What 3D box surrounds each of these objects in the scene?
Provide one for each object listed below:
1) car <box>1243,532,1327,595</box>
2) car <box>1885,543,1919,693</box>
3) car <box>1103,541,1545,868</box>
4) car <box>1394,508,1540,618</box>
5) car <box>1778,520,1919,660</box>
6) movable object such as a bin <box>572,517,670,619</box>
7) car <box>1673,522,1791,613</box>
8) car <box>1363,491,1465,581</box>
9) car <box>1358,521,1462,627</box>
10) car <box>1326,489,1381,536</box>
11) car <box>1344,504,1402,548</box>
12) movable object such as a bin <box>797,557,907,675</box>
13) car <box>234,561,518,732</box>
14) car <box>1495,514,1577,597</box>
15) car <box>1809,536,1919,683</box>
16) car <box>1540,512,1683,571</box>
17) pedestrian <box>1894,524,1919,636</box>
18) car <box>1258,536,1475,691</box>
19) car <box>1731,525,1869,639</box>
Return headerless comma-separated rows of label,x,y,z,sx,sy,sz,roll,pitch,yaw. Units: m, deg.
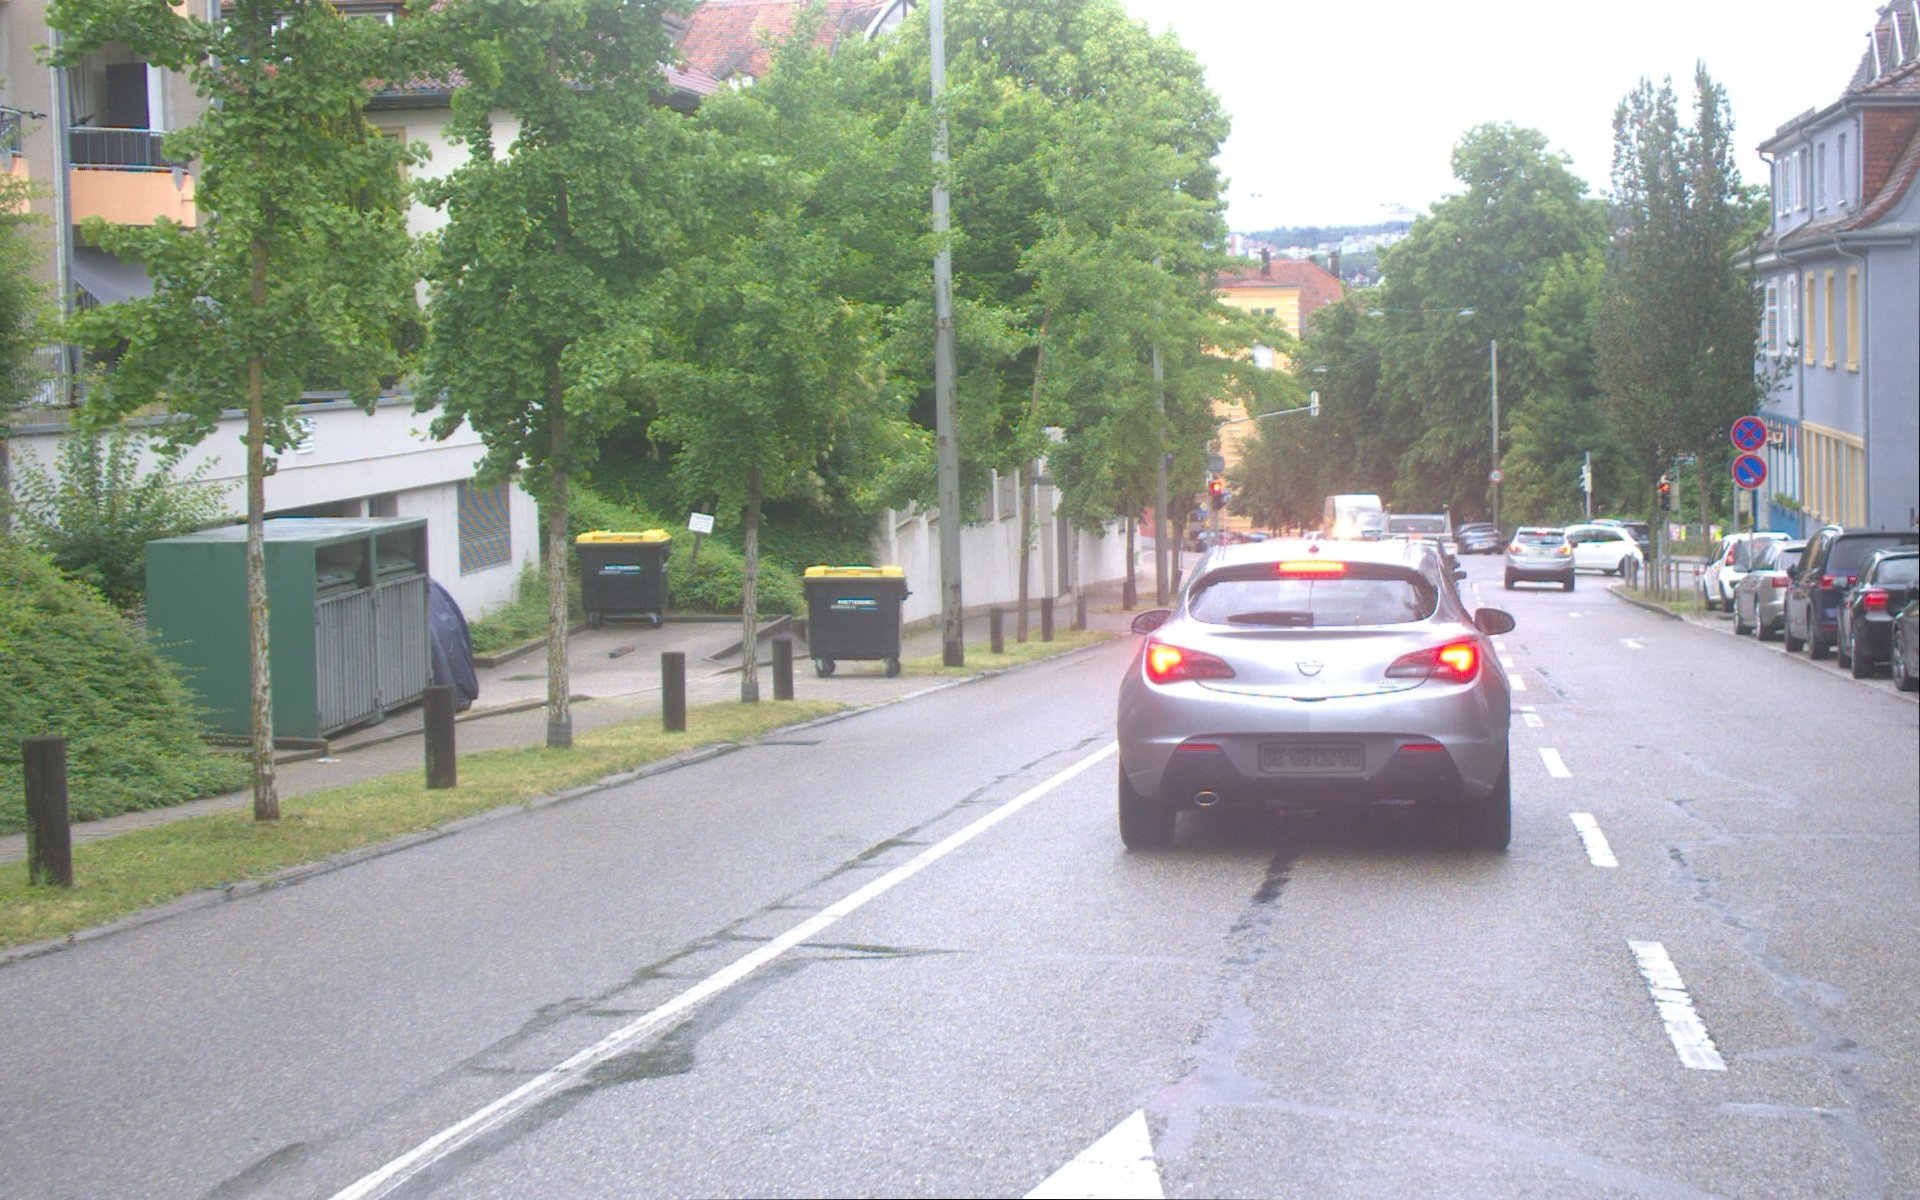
car,8.541,-0.973,90.136,1.850,1.464,4.086,-4,0,9
car,9.927,0.155,32.824,1.504,1.430,3.999,-2,1,7
car,1.749,0.438,17.292,1.945,1.427,3.884,-1,1,4
car,7.527,-0.581,51.359,1.961,1.467,3.950,2,2,6
car,11.325,-0.165,43.203,1.686,1.565,3.999,-2,2,9
movable object such as a bin,-4.677,-0.445,47.481,1.272,1.382,0.489,0,2,6
car,14.671,-0.648,65.487,1.907,1.565,3.999,-2,2,9
car,11.190,-1.600,84.443,2.335,2.029,4.734,2,2,8
car,8.329,-0.512,63.872,1.769,1.775,3.976,2,2,6
car,15.794,-3.521,137.890,1.994,1.778,3.999,2,2,9
car,15.707,-2.819,130.584,1.994,1.530,4.308,2,2,8
movable object such as a bin,-1.295,0.184,41.260,1.272,1.382,0.489,0,2,6
car,-5.797,0.423,34.564,1.742,1.451,3.883,-4,1,6
car,15.439,-1.221,92.380,1.994,2.029,4.734,2,2,8
car,10.568,0.062,38.527,1.682,1.459,3.999,-2,2,9
car,19.983,-1.793,105.522,3.850,1.474,1.829,-5,1,-8
pedestrian,15.358,-0.322,55.157,0.645,1.778,0.541,-1,2,9
car,3.865,0.085,33.219,1.798,1.318,4.000,0,2,3
car,12.287,-0.293,50.458,1.584,1.488,4.289,-2,2,9
